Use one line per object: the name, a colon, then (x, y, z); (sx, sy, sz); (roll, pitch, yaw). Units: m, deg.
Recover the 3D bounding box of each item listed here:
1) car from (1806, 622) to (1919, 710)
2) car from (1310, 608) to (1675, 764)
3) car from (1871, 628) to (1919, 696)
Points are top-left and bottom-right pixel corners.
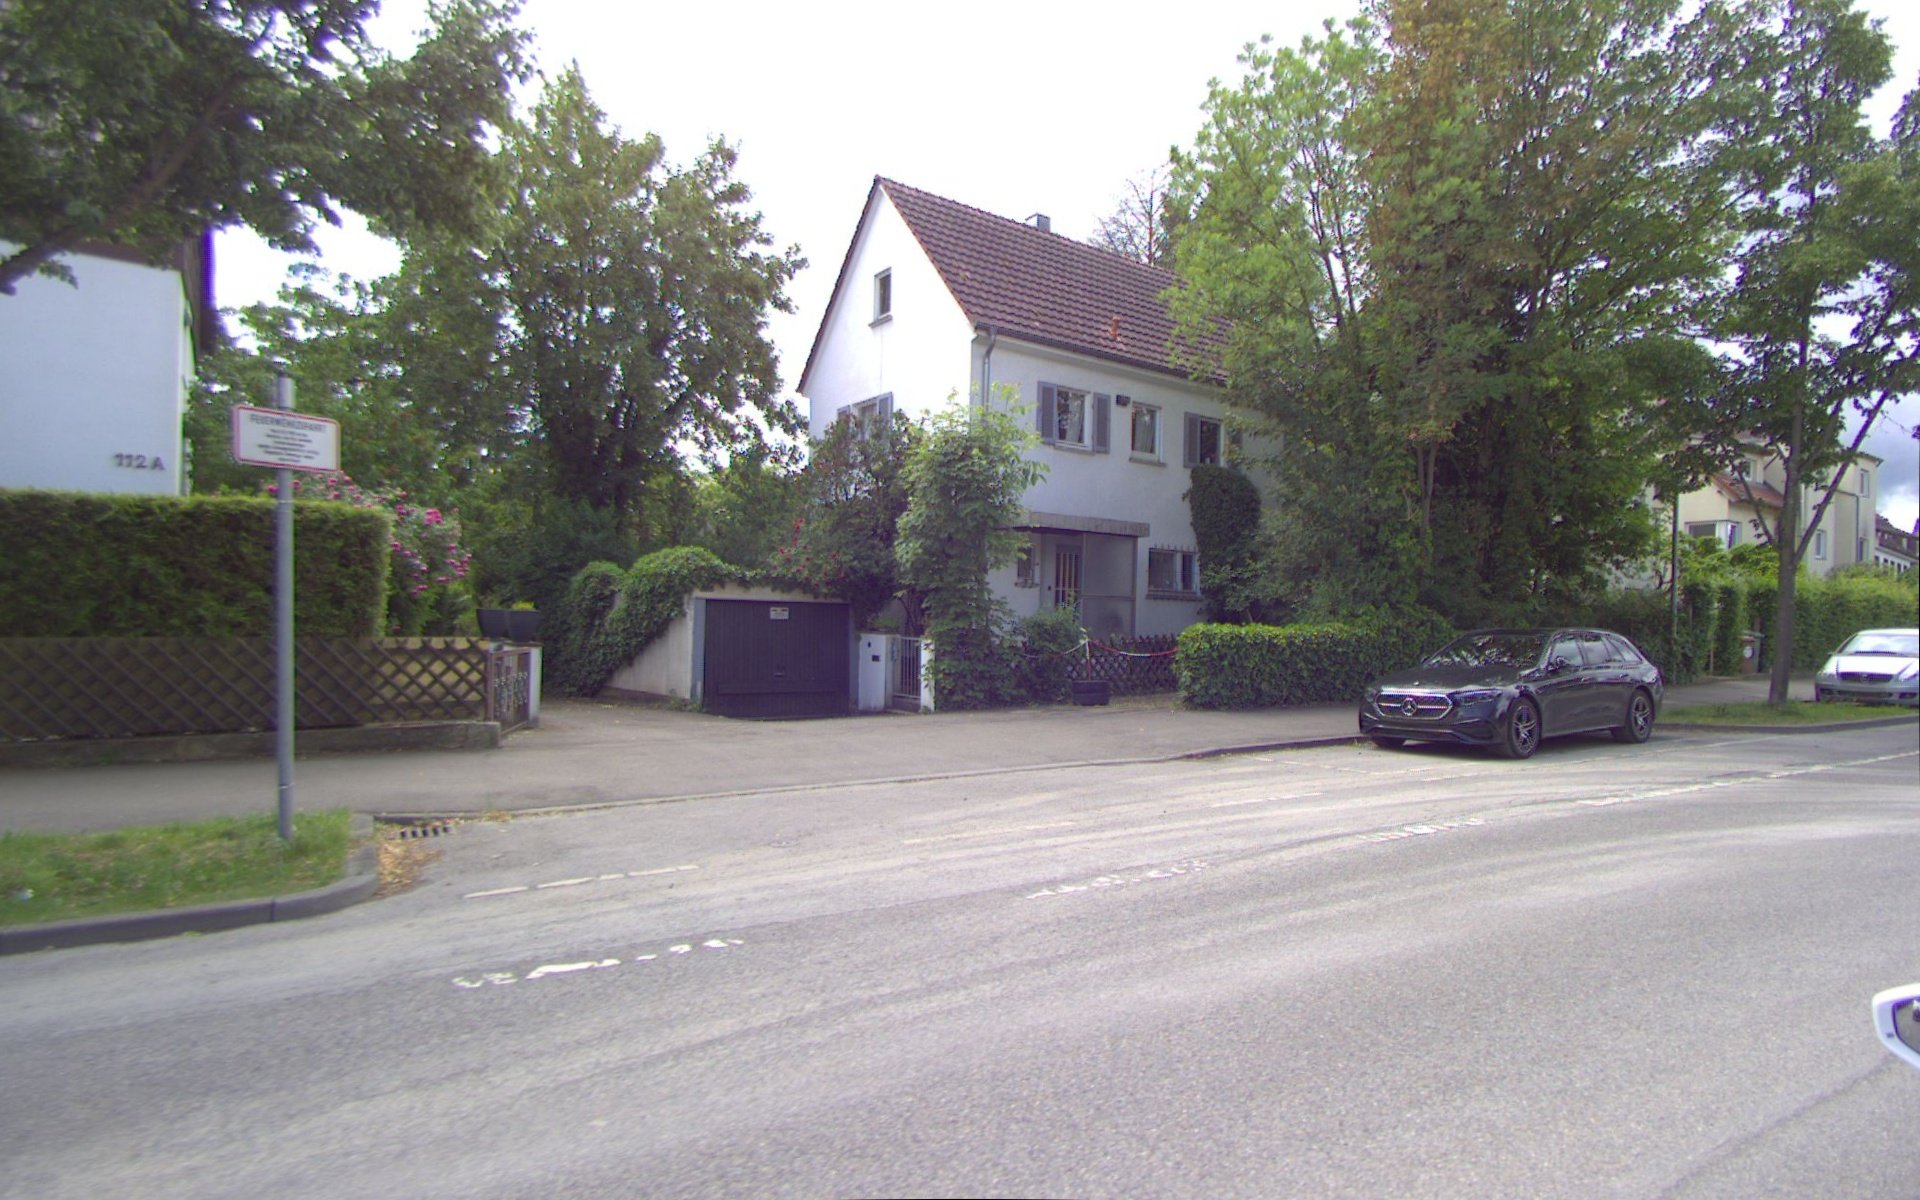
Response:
car: (19.074, 1.292, 20.487); (3.867, 1.634, 1.709); (1, -1, -32)
car: (6.998, 0.979, 13.031); (4.985, 1.669, 2.083); (1, -2, -34)
car: (23.550, 1.435, 23.725); (4.841, 1.504, 1.981); (1, -2, -35)
